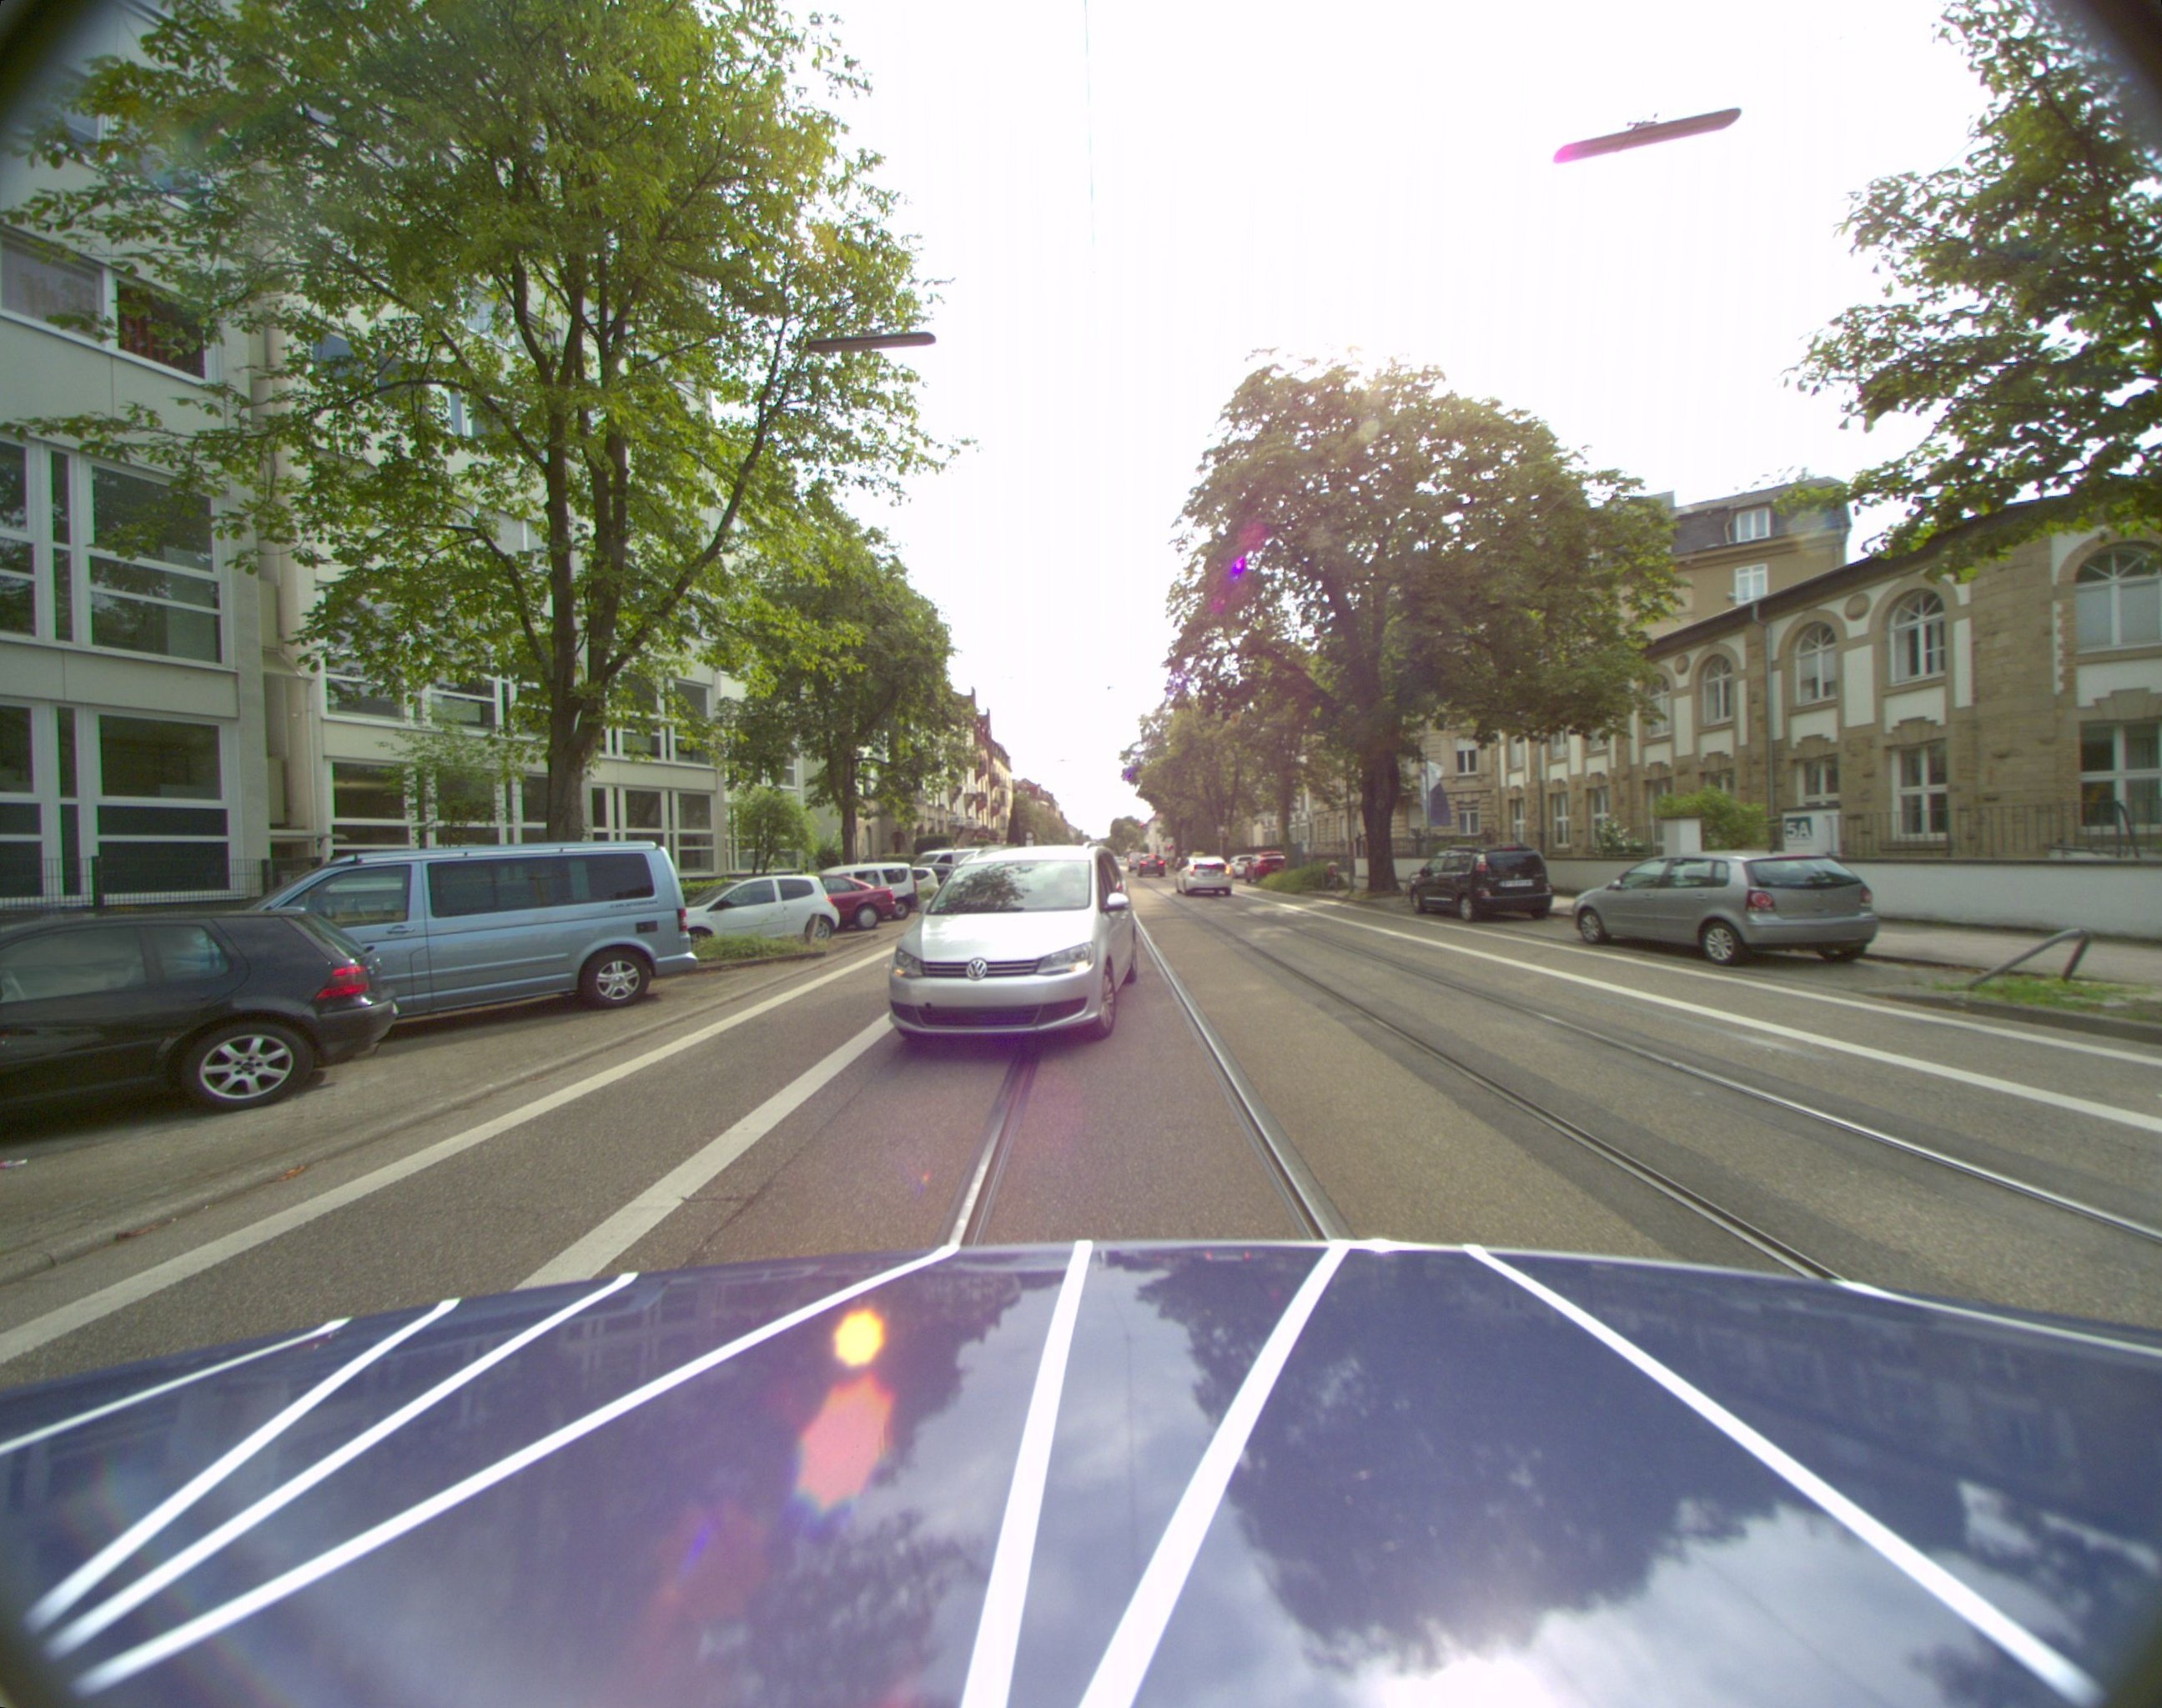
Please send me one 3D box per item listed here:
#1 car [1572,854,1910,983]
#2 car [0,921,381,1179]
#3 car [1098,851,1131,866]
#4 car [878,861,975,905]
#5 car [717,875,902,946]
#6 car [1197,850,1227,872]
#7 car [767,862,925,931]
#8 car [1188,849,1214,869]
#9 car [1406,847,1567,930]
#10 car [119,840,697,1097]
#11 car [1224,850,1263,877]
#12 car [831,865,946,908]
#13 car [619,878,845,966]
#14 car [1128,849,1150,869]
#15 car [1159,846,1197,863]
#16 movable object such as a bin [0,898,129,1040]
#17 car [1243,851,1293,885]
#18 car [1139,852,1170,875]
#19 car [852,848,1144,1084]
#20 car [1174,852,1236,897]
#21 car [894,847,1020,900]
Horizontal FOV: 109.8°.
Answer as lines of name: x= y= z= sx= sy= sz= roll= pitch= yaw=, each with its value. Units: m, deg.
car: x=8.839 y=0.751 z=10.634 sx=1.632 sy=1.456 sz=3.574 roll=-2 pitch=0 yaw=1
car: x=-7.403 y=1.324 z=5.024 sx=3.980 sy=1.379 sz=1.810 roll=-3 pitch=-1 yaw=-44
car: x=5.494 y=0.720 z=123.672 sx=5.257 sy=2.333 sz=2.000 roll=-2 pitch=0 yaw=3
car: x=-6.472 y=1.173 z=31.826 sx=3.649 sy=1.580 sz=1.764 roll=-2 pitch=1 yaw=-25
car: x=-6.502 y=1.286 z=18.408 sx=3.777 sy=1.331 sz=1.809 roll=-2 pitch=1 yaw=-40
car: x=10.156 y=0.515 z=59.256 sx=1.659 sy=1.624 sz=3.906 roll=-2 pitch=0 yaw=1
car: x=-6.539 y=1.115 z=21.325 sx=3.777 sy=1.609 sz=1.809 roll=-2 pitch=1 yaw=-40
car: x=10.467 y=0.420 z=66.567 sx=1.659 sy=1.624 sz=3.906 roll=-2 pitch=0 yaw=1
car: x=8.987 y=0.692 z=17.222 sx=1.659 sy=1.624 sz=3.725 roll=-2 pitch=0 yaw=1
car: x=-6.986 y=0.938 z=8.470 sx=4.354 sy=2.052 sz=1.994 roll=-2 pitch=0 yaw=-45
car: x=10.370 y=0.584 z=48.715 sx=1.659 sy=1.592 sz=3.906 roll=-2 pitch=0 yaw=1
car: x=-6.966 y=1.143 z=27.693 sx=3.652 sy=1.322 sz=1.763 roll=-3 pitch=1 yaw=-44
car: x=-6.847 y=1.247 z=15.109 sx=3.652 sy=1.322 sz=1.763 roll=-3 pitch=1 yaw=-44
car: x=5.675 y=0.509 z=74.878 sx=1.799 sy=1.813 sz=4.678 roll=-2 pitch=0 yaw=1
car: x=16.083 y=0.032 z=125.678 sx=5.939 sy=2.585 sz=1.997 roll=-2 pitch=0 yaw=-21
movable object such as a bin: x=-12.224 y=1.283 z=8.505 sx=1.334 sy=1.450 sz=1.400 roll=-2 pitch=0 yaw=5
car: x=9.764 y=0.691 z=39.956 sx=1.659 sy=1.624 sz=3.906 roll=-2 pitch=0 yaw=1
car: x=5.344 y=0.665 z=55.739 sx=1.852 sy=1.603 sz=4.334 roll=-2 pitch=0 yaw=1
car: x=-0.440 y=0.821 z=7.838 sx=1.815 sy=1.691 sz=4.620 roll=-2 pitch=0 yaw=9
car: x=4.785 y=0.746 z=29.874 sx=1.736 sy=1.603 sz=4.334 roll=-1 pitch=0 yaw=1
car: x=-5.713 y=0.826 z=35.505 sx=5.449 sy=2.163 sz=2.142 roll=-2 pitch=1 yaw=-40
